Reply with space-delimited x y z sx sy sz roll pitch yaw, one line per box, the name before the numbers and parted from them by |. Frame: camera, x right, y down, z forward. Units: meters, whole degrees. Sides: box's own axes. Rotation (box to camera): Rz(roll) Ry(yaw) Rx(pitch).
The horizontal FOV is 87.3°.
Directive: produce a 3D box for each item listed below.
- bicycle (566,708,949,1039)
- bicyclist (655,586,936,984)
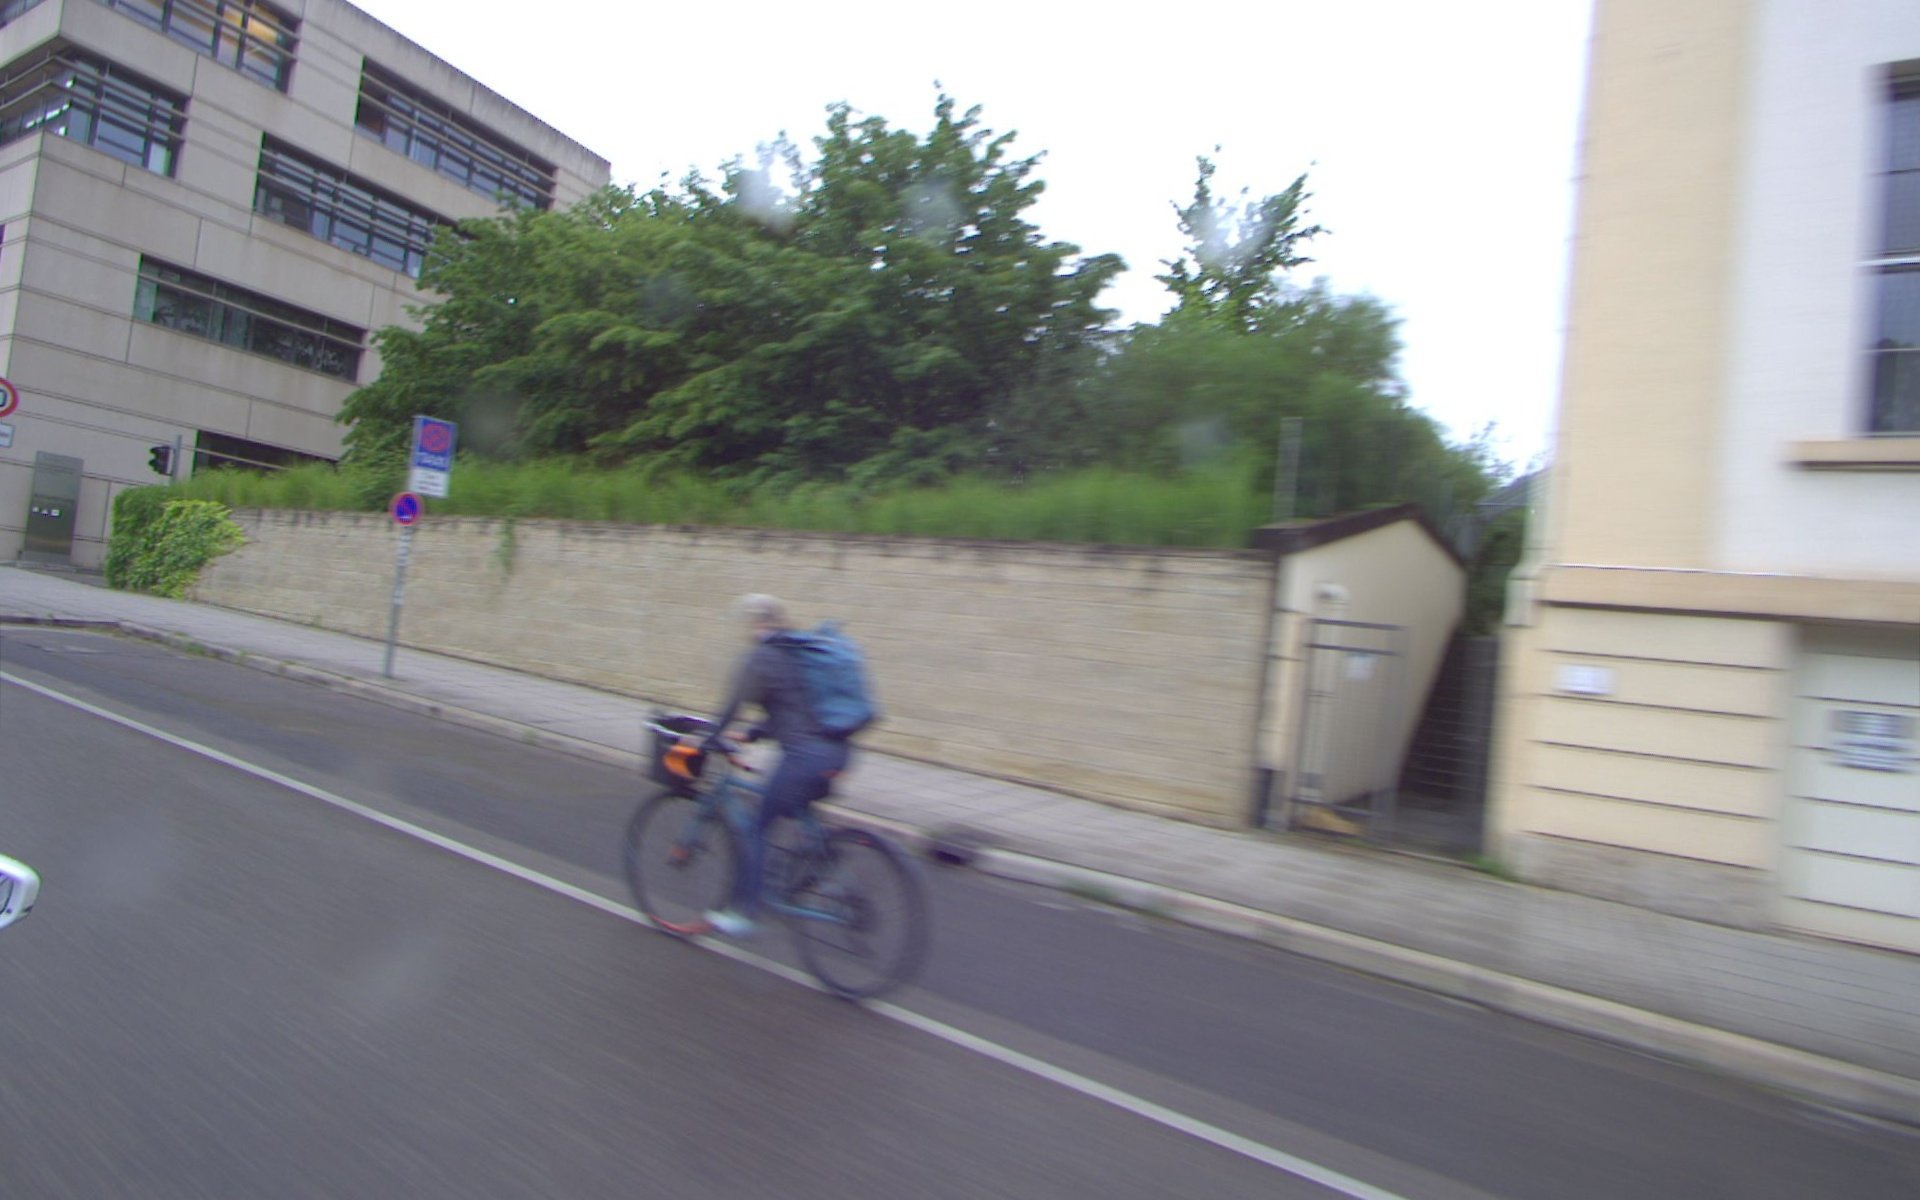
bicycle | -0.919 1.077 4.332 1.662 0.974 0.448 6 -3 33
bicyclist | -0.698 0.721 4.251 0.915 1.448 0.485 5 -4 33
